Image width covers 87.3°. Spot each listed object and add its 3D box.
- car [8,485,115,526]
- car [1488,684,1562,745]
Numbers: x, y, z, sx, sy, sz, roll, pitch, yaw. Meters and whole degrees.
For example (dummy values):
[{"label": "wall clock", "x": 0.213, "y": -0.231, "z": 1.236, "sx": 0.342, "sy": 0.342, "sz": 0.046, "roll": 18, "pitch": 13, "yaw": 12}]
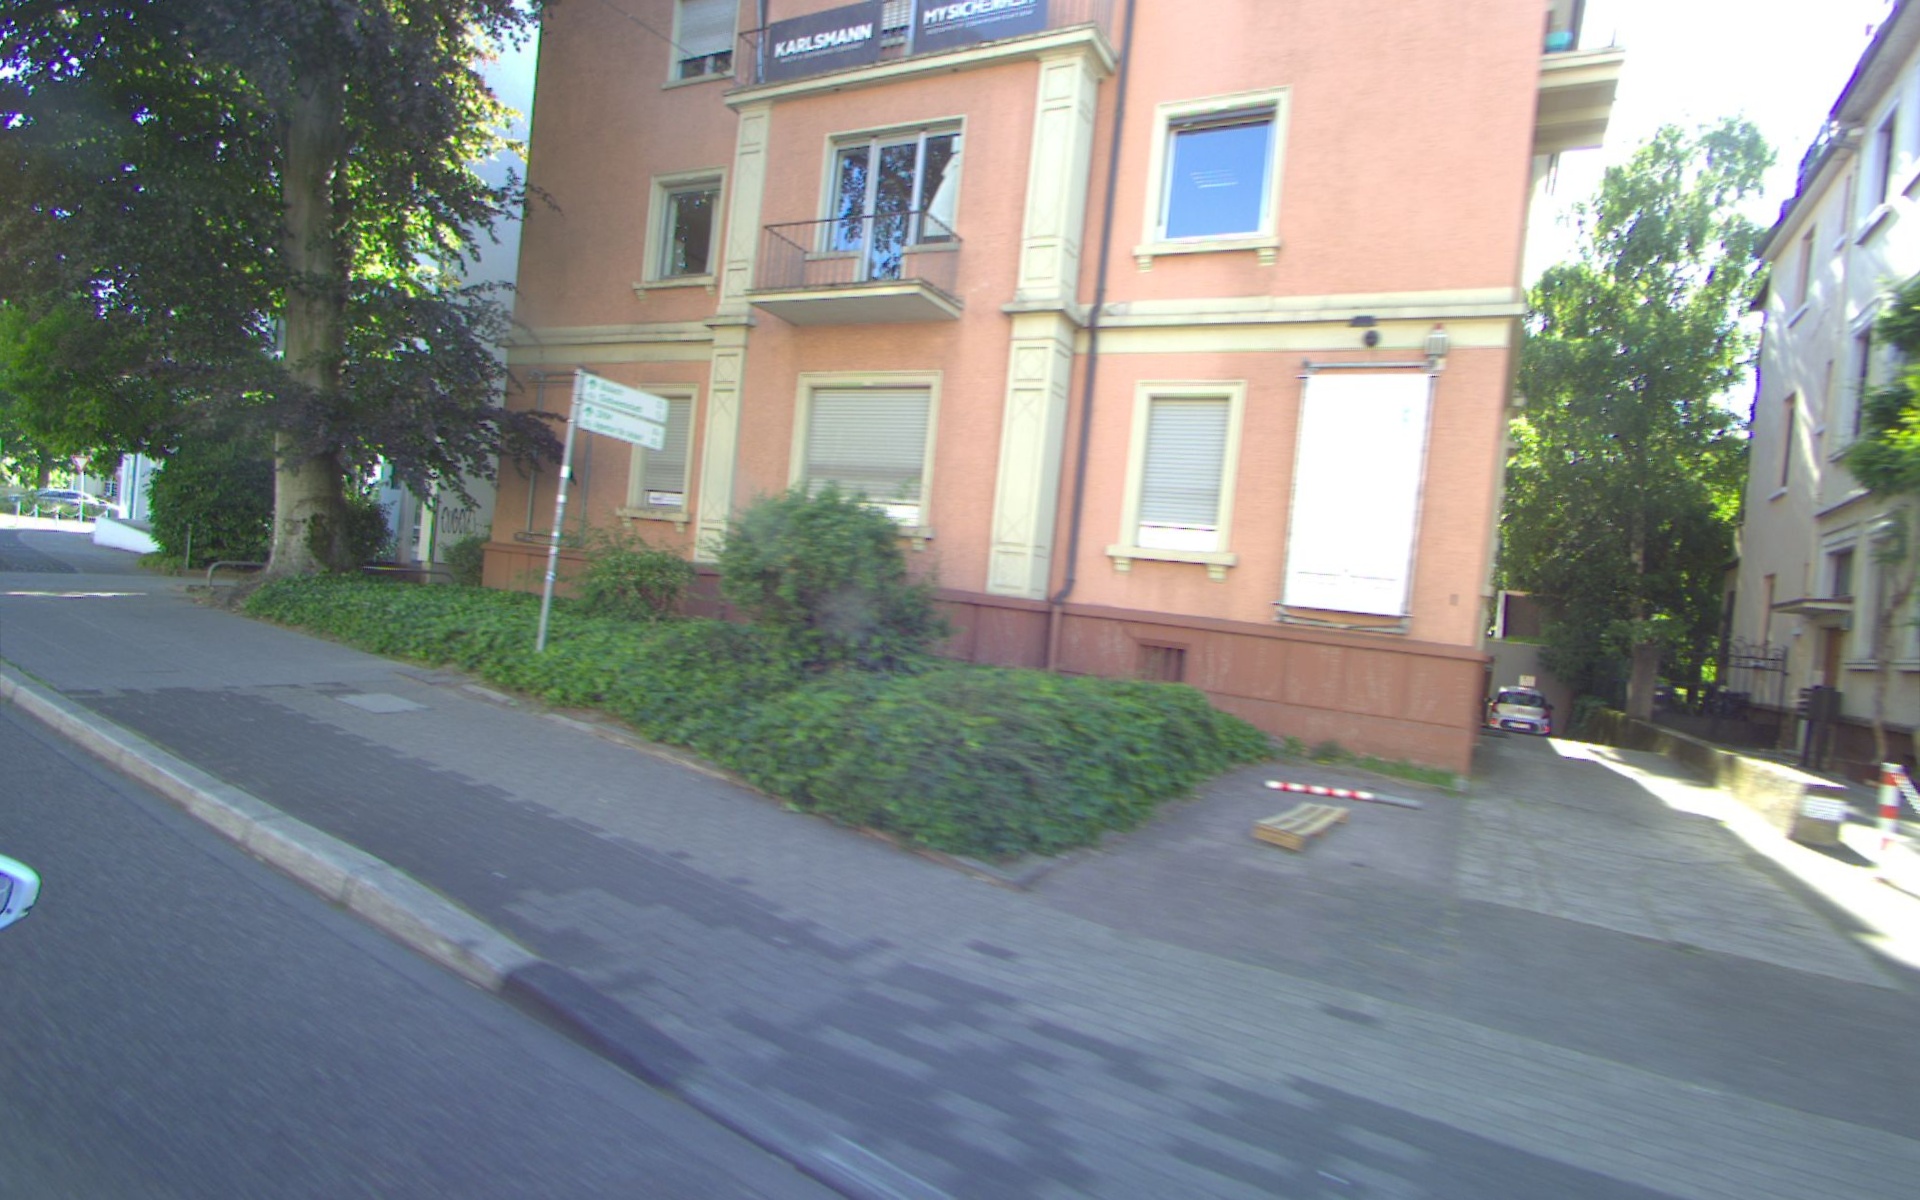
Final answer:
[{"label": "car", "x": -50.415, "y": -5.255, "z": 56.512, "sx": 1.888, "sy": 1.665, "sz": 3.996, "roll": 7, "pitch": 1, "yaw": 24}, {"label": "car", "x": 16.436, "y": 3.306, "z": 29.360, "sx": 1.646, "sy": 1.425, "sz": 3.641, "roll": 7, "pitch": -2, "yaw": 29}]
